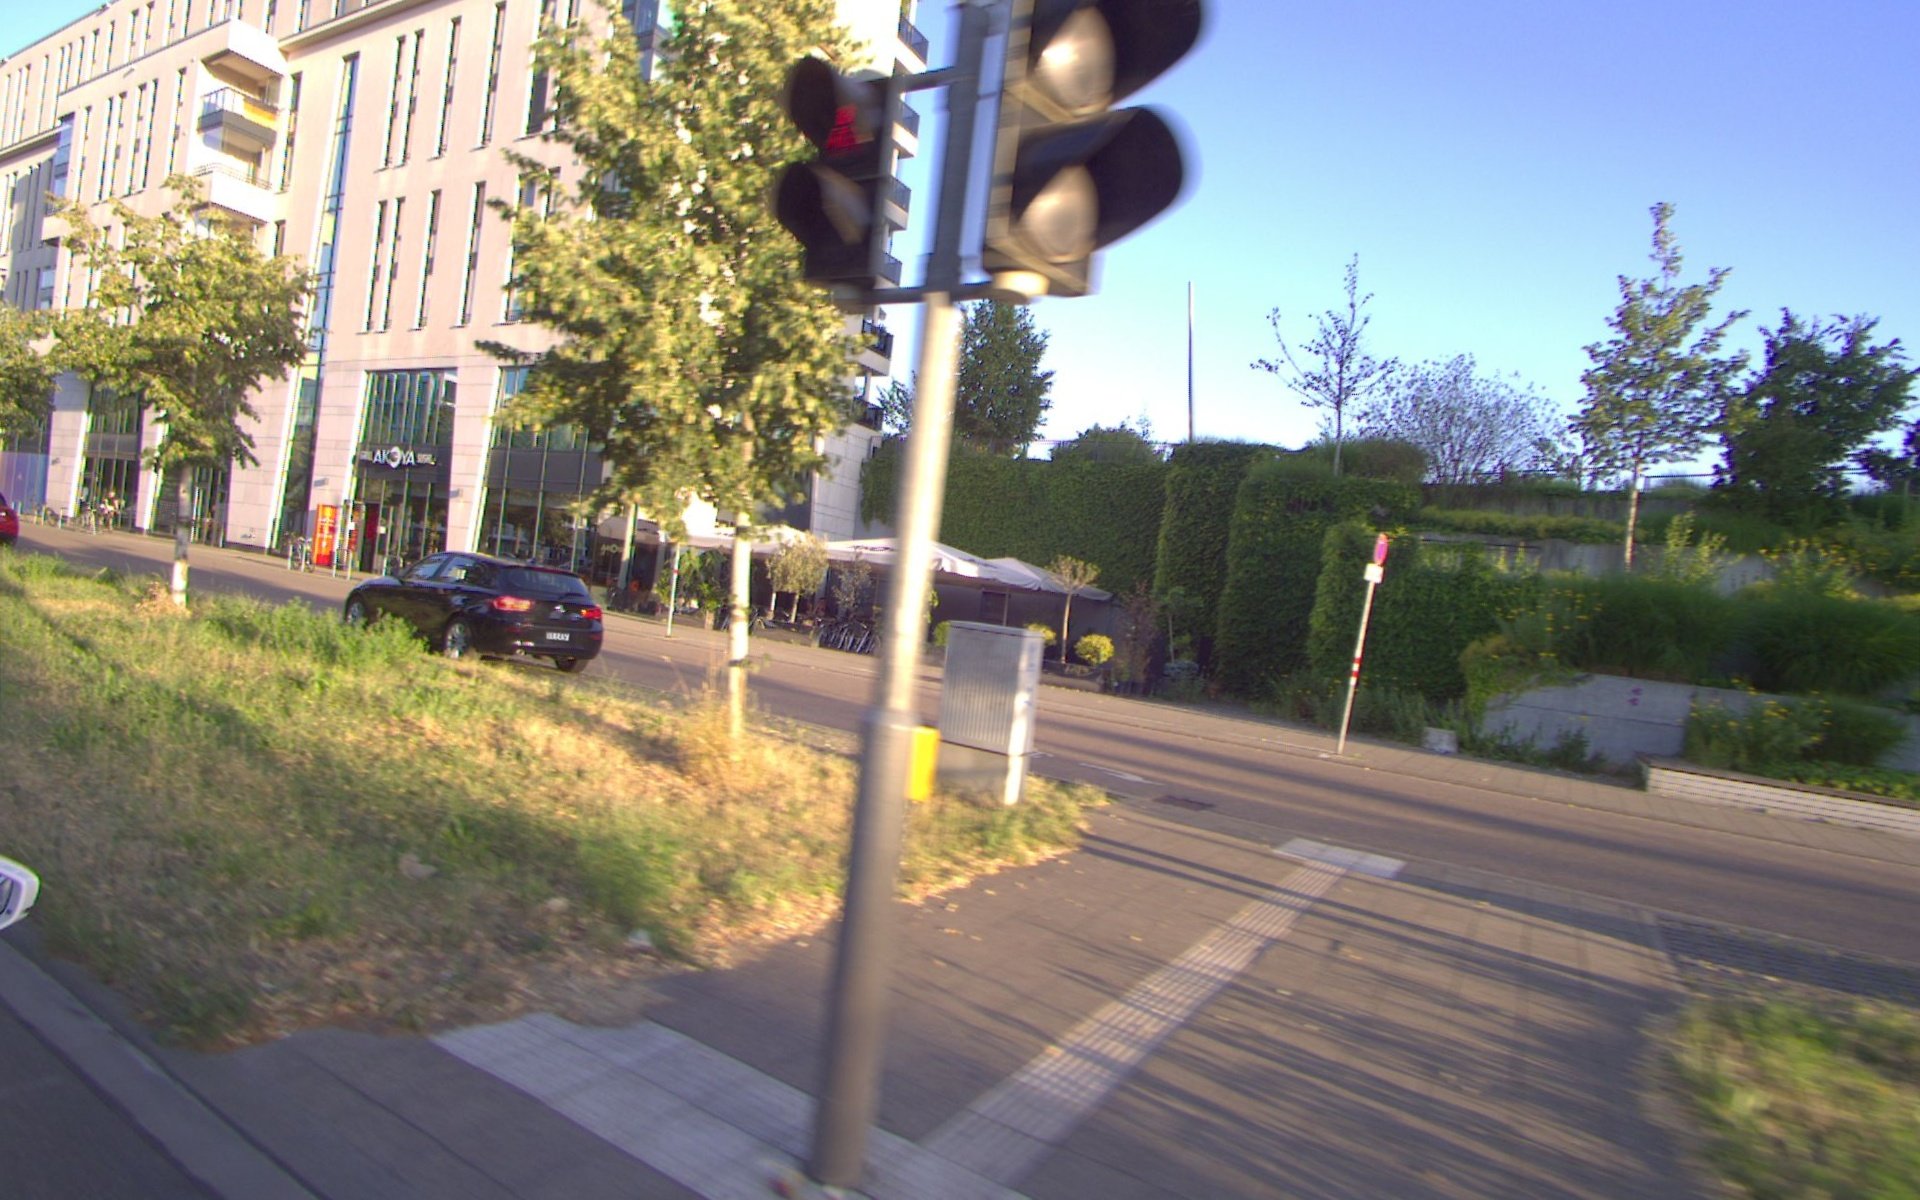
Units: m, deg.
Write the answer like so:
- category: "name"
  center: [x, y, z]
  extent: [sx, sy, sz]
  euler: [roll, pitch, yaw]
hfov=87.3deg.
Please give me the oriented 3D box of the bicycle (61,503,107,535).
- category: "bicycle"
  center: [-33.992, -3.137, 39.022]
  extent: [2.223, 1.046, 0.621]
  euler: [7, 0, 30]

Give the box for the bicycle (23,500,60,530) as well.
- category: "bicycle"
  center: [-38.429, -3.561, 42.105]
  extent: [1.584, 1.073, 0.534]
  euler: [7, 0, 26]

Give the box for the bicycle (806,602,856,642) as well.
- category: "bicycle"
  center: [-4.004, 0.700, 31.385]
  extent: [0.491, 1.121, 1.798]
  euler: [7, 0, 27]

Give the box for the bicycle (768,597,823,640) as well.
- category: "bicycle"
  center: [-4.811, 0.567, 29.537]
  extent: [0.491, 1.121, 1.798]
  euler: [7, 0, 27]

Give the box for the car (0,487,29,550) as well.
- category: "car"
  center: [-26.082, -2.317, 26.044]
  extent: [3.893, 1.519, 1.811]
  euler: [7, 0, 31]

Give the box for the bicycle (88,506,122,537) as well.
- category: "bicycle"
  center: [-35.885, -3.299, 42.211]
  extent: [1.882, 1.132, 0.543]
  euler: [7, 0, 35]

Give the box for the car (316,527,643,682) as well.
- category: "car"
  center: [-6.546, 0.036, 13.597]
  extent: [4.295, 1.519, 1.811]
  euler: [7, 0, 31]

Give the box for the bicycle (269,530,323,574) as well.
- category: "bicycle"
  center: [-20.386, -1.477, 30.879]
  extent: [1.837, 1.143, 0.547]
  euler: [7, 2, 30]

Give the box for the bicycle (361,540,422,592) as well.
- category: "bicycle"
  center: [-15.793, -0.939, 27.950]
  extent: [1.642, 1.246, 0.618]
  euler: [7, 0, 30]

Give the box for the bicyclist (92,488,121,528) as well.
- category: "bicyclist"
  center: [-35.780, -3.858, 42.175]
  extent: [1.003, 1.588, 0.544]
  euler: [7, 0, 35]
